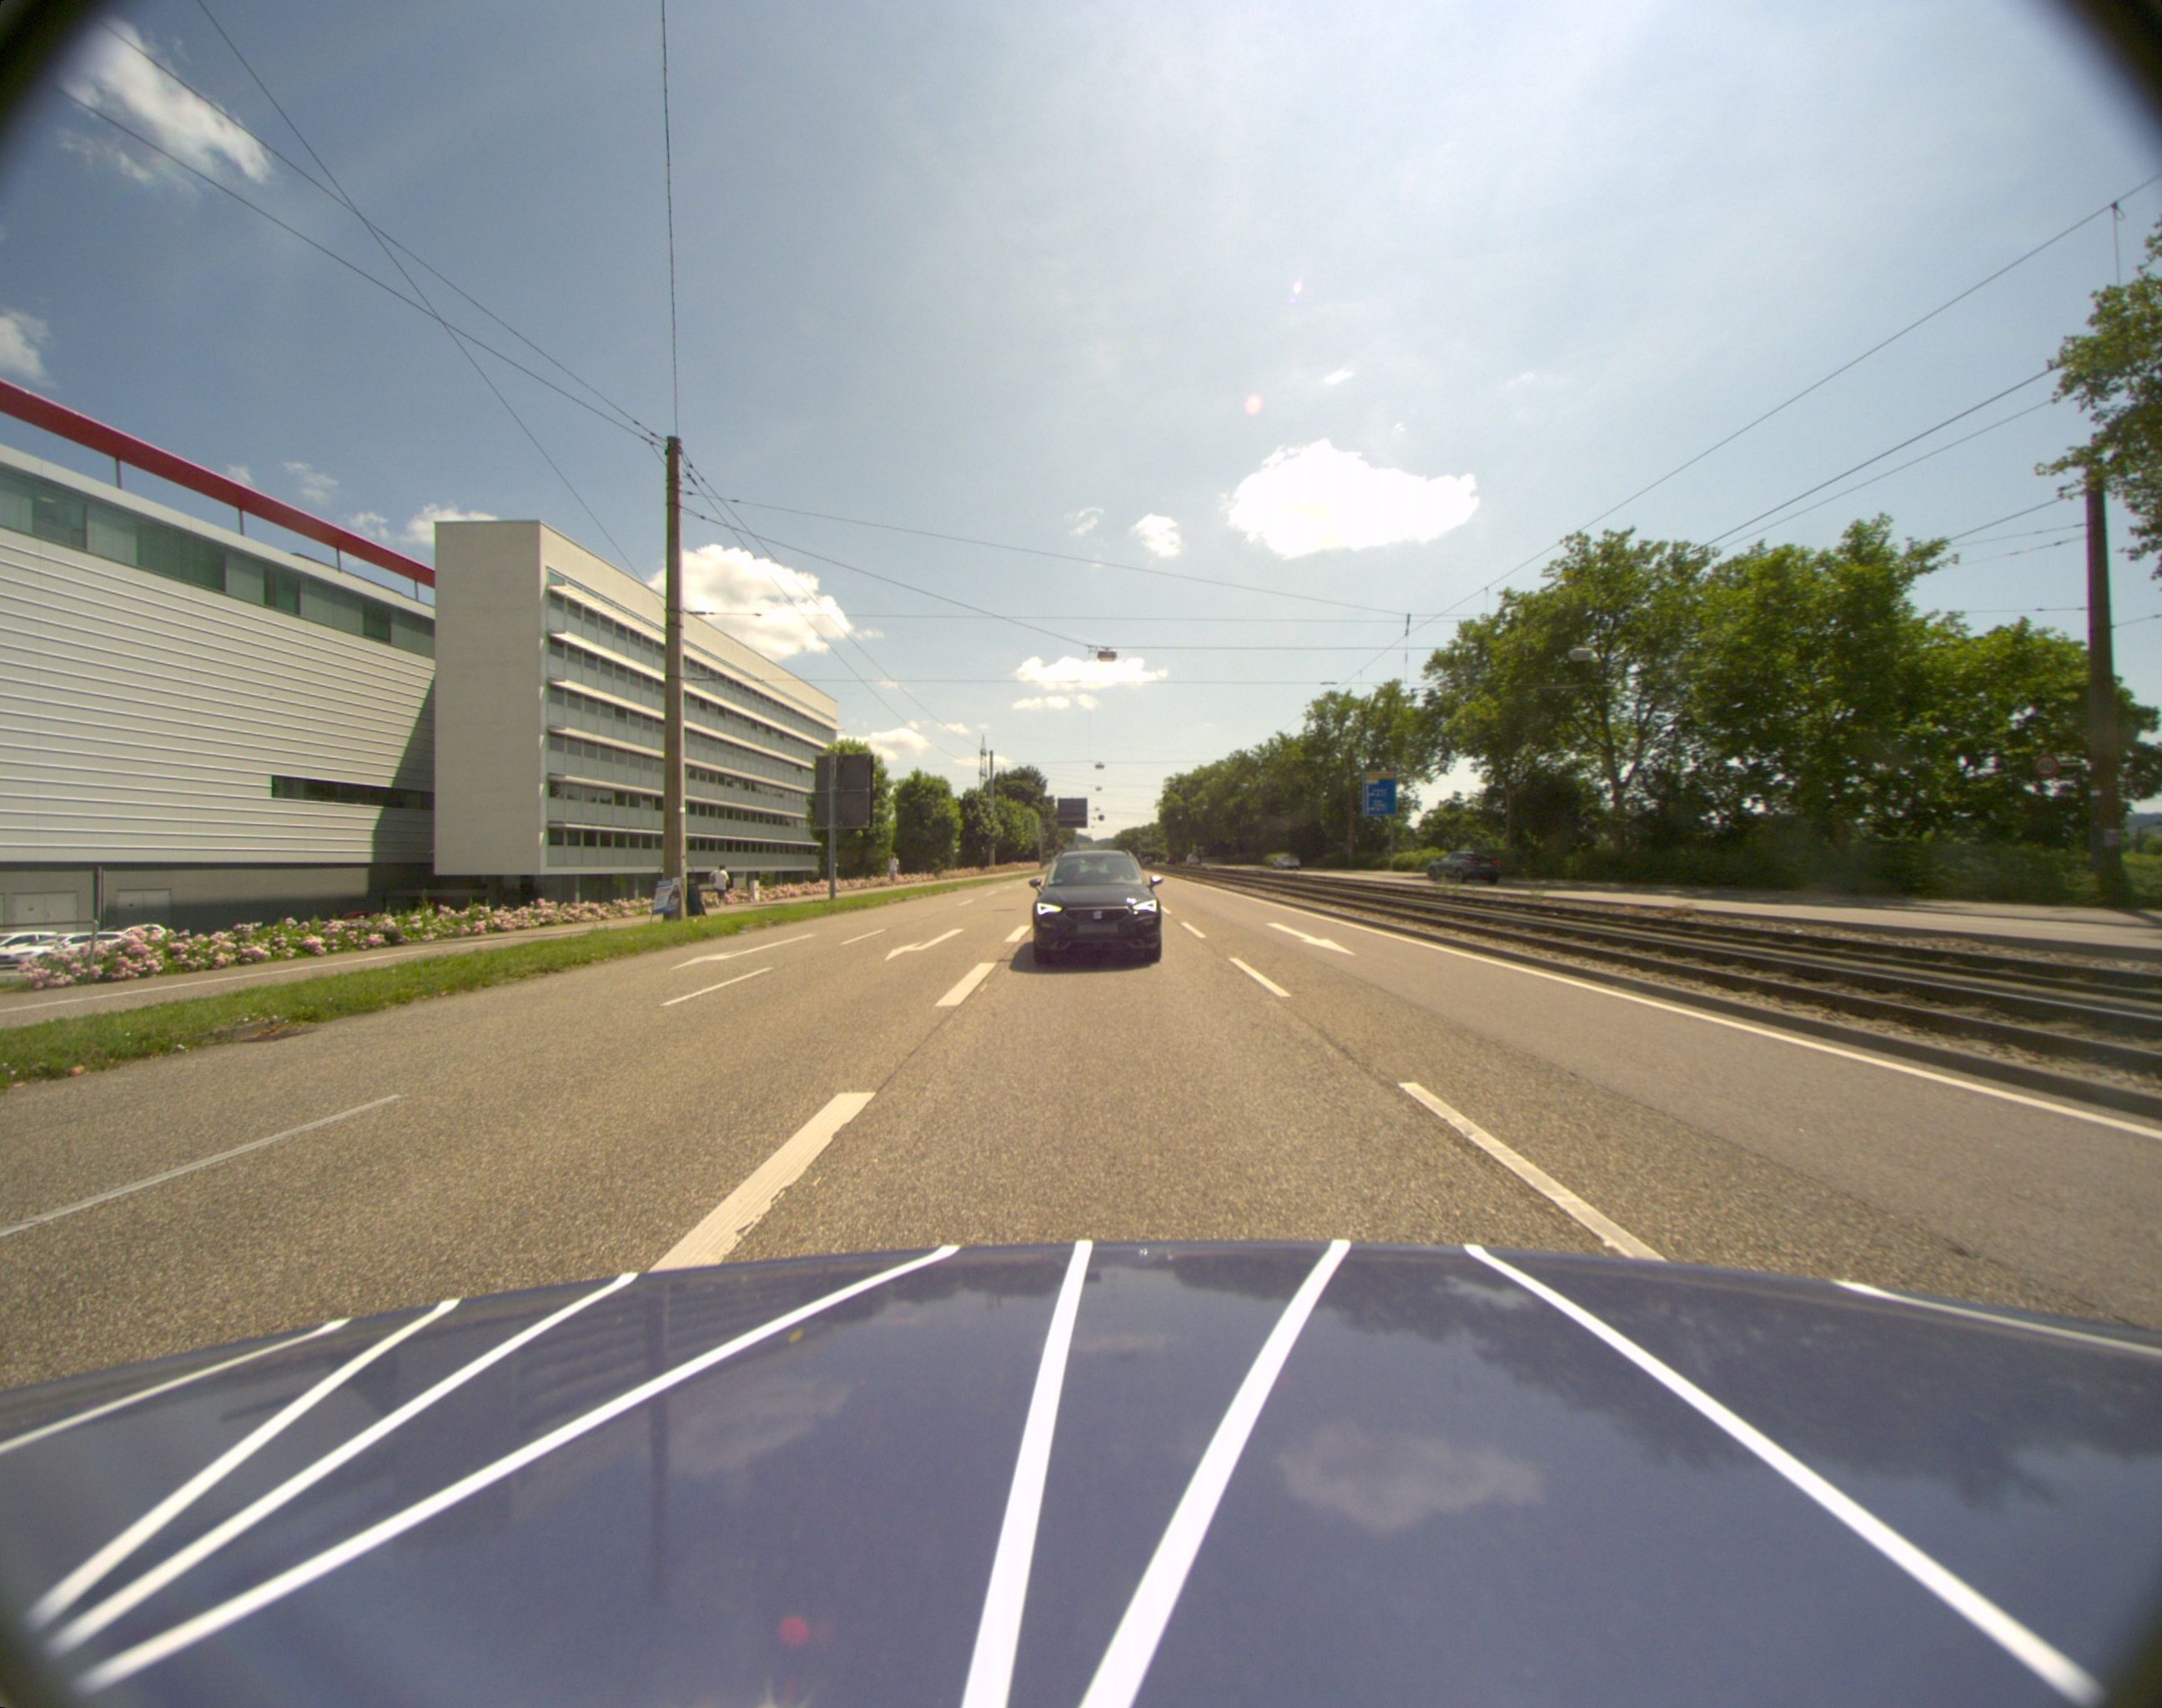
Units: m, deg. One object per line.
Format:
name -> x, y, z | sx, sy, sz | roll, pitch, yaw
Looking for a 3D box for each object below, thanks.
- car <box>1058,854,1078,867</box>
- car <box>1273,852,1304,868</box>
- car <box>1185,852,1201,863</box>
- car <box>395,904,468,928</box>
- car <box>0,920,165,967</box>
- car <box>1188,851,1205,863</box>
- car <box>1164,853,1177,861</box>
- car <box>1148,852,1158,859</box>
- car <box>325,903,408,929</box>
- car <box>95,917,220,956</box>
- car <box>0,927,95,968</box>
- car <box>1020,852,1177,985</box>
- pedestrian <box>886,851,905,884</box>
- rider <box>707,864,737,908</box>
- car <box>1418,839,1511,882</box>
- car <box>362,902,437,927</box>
car -> -1.403, 0.723, 83.036 | 1.896, 1.331, 4.000 | -2, 0, 1
car -> 19.129, 0.514, 70.163 | 1.827, 1.407, 3.883 | 2, 0, 0
car -> 16.530, 0.549, 112.641 | 1.690, 1.574, 4.058 | 2, 0, -1
car -> -45.517, 4.303, 53.366 | 1.609, 1.314, 4.000 | -2, 0, 1
car -> -48.661, 4.280, 36.894 | 1.998, 1.602, 5.146 | -2, 0, 1
car -> 18.908, 0.510, 124.737 | 1.999, 1.820, 4.969 | 1, 0, -1
car -> 18.547, 0.557, 157.332 | 1.999, 1.660, 4.467 | 1, 0, -2
car -> 18.601, 0.438, 196.744 | 1.999, 1.820, 4.969 | 1, 0, -1
car -> -50.310, 4.326, 53.645 | 1.998, 1.439, 4.000 | -2, 0, 1
car -> -51.072, 4.529, 42.155 | 1.998, 1.602, 4.000 | -2, 1, 1
car -> -51.363, 4.552, 36.759 | 1.998, 1.602, 4.000 | -2, 1, 1
car -> 0.246, 0.792, 11.639 | 1.898, 1.564, 4.511 | -1, 1, 1
pedestrian -> -10.387, 0.759, 42.594 | 0.758, 1.838, 0.931 | -2, 1, 3
rider -> -12.384, 1.100, 26.207 | 0.671, 1.449, 0.618 | -2, 1, 1
car -> 18.567, 0.298, 37.044 | 1.999, 1.907, 4.408 | 2, 0, -5
car -> -47.911, 4.240, 53.533 | 1.648, 1.377, 4.000 | -2, 0, 1
